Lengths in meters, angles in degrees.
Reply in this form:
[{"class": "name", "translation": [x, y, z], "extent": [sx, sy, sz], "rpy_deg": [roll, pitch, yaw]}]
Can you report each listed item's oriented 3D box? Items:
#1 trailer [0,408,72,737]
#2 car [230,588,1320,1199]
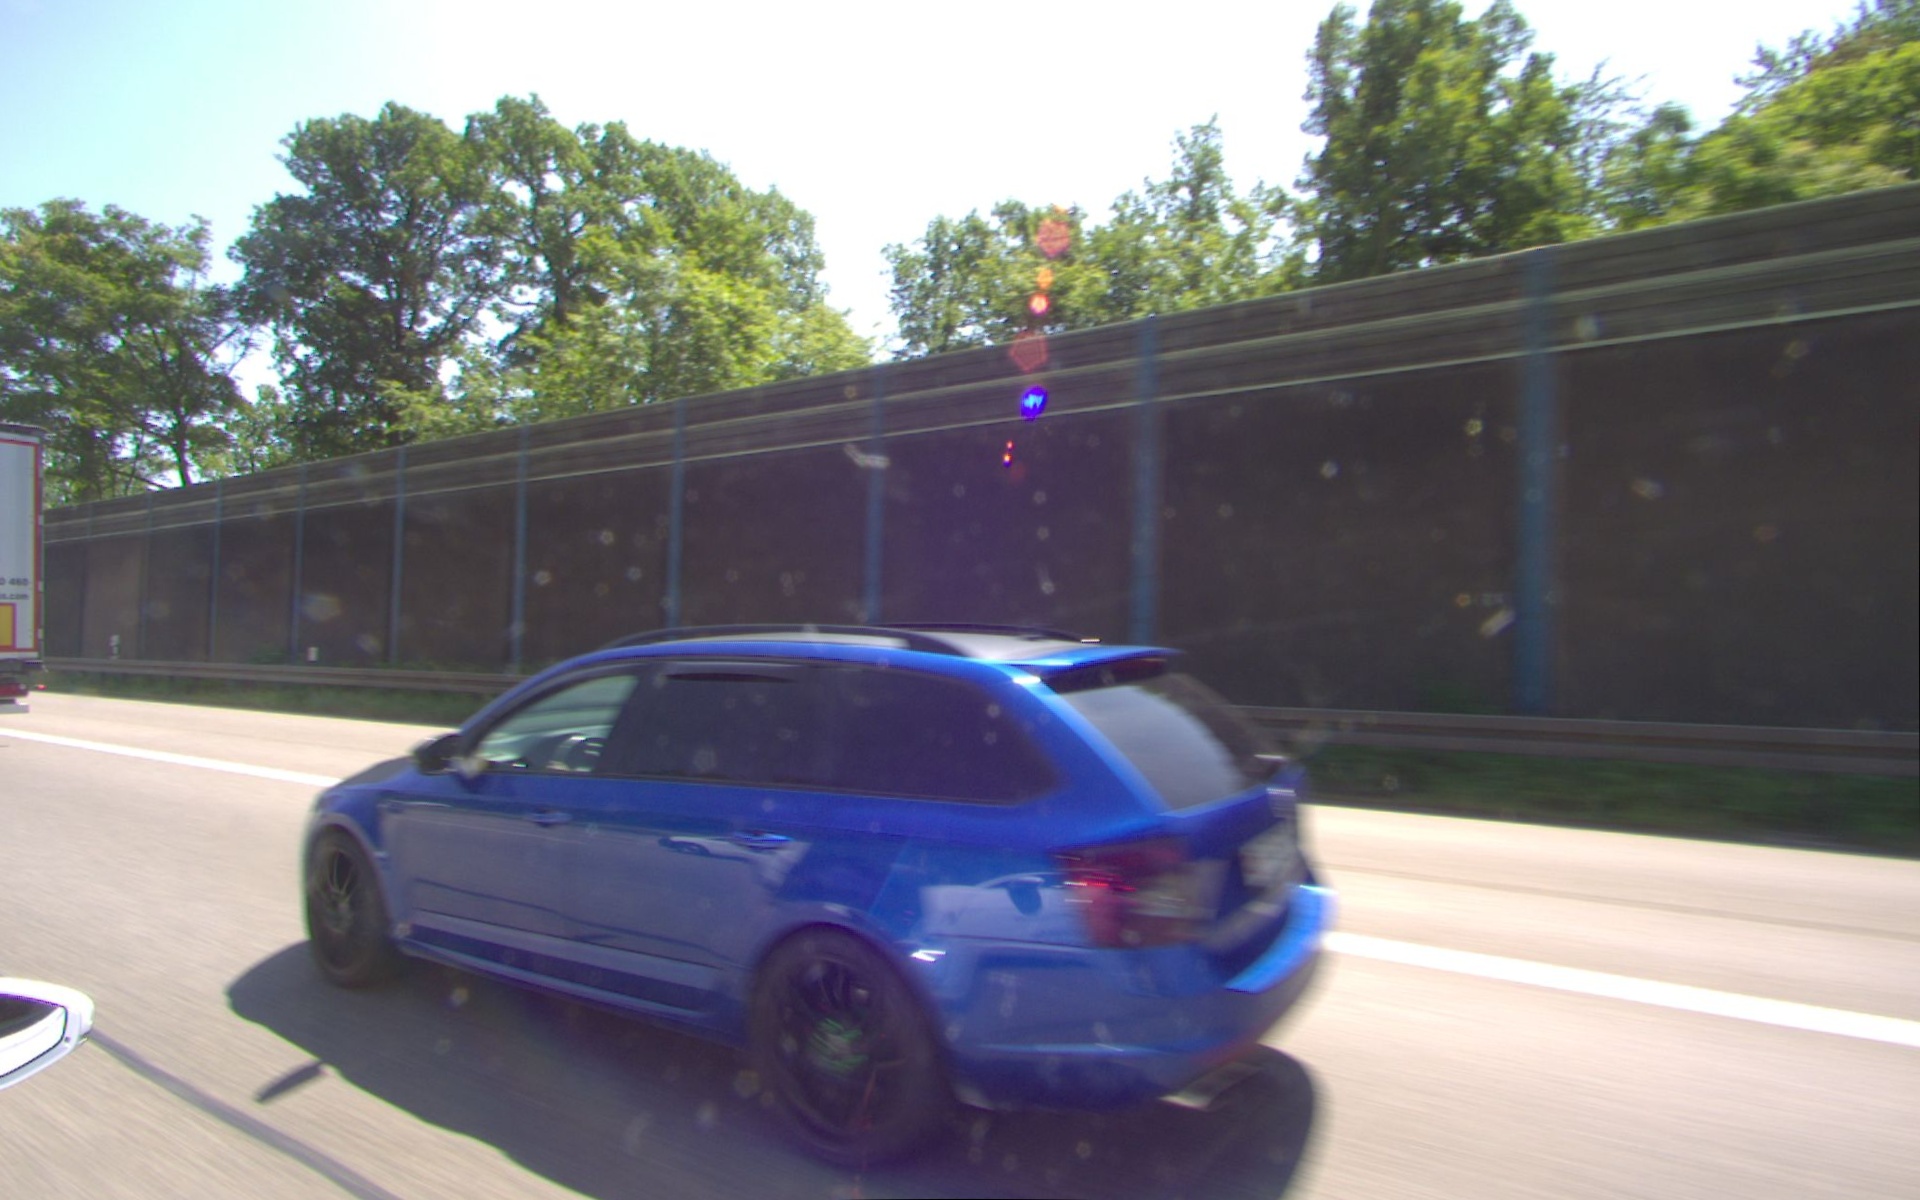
[{"class": "trailer", "translation": [-17.996, -0.247, 15.554], "extent": [13.602, 4.090, 2.879], "rpy_deg": [-1, -1, 33]}, {"class": "car", "translation": [-1.012, 0.814, 4.080], "extent": [4.418, 1.501, 1.648], "rpy_deg": [-2, -2, 32]}]
